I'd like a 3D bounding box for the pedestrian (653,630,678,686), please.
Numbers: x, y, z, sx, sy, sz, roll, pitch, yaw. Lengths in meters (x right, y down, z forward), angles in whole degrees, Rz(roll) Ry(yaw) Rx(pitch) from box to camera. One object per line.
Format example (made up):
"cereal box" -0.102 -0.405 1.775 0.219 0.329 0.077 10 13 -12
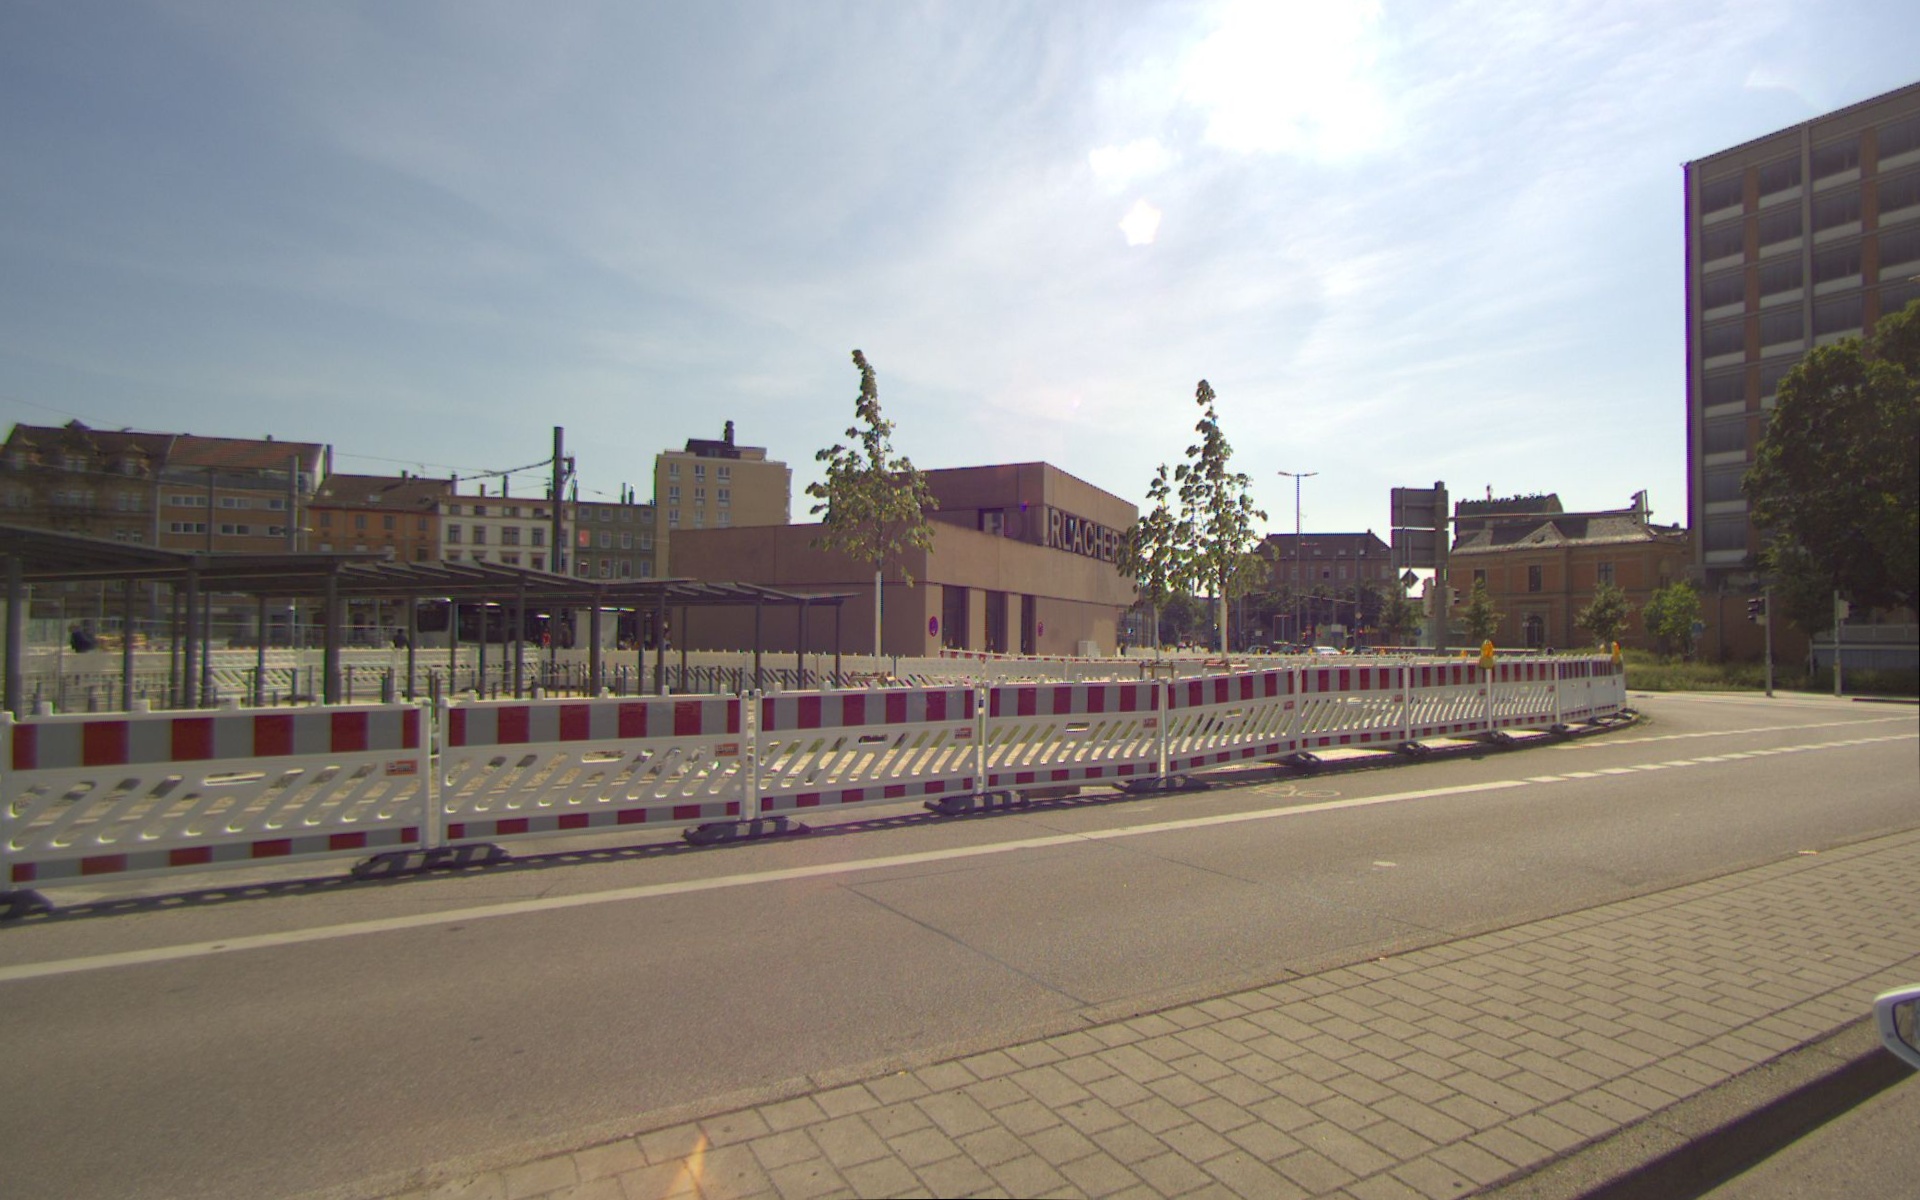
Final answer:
"pedestrian" -8.399 1.639 28.634 0.415 1.585 0.558 -1 -2 23

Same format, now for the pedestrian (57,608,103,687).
"pedestrian" -23.160 1.238 26.435 0.807 2.040 0.684 -1 -3 35

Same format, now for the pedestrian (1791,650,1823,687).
"pedestrian" 40.991 3.301 48.609 0.857 1.748 0.799 1 -2 -7

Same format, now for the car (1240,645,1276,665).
"car" 23.753 4.366 80.224 1.764 1.530 4.001 1 -2 1

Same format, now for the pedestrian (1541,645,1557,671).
"pedestrian" 40.097 3.952 68.385 0.637 1.683 0.650 2 0 -3

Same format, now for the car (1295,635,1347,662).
"car" 26.071 3.489 72.674 1.963 1.839 3.996 1 -2 -7
